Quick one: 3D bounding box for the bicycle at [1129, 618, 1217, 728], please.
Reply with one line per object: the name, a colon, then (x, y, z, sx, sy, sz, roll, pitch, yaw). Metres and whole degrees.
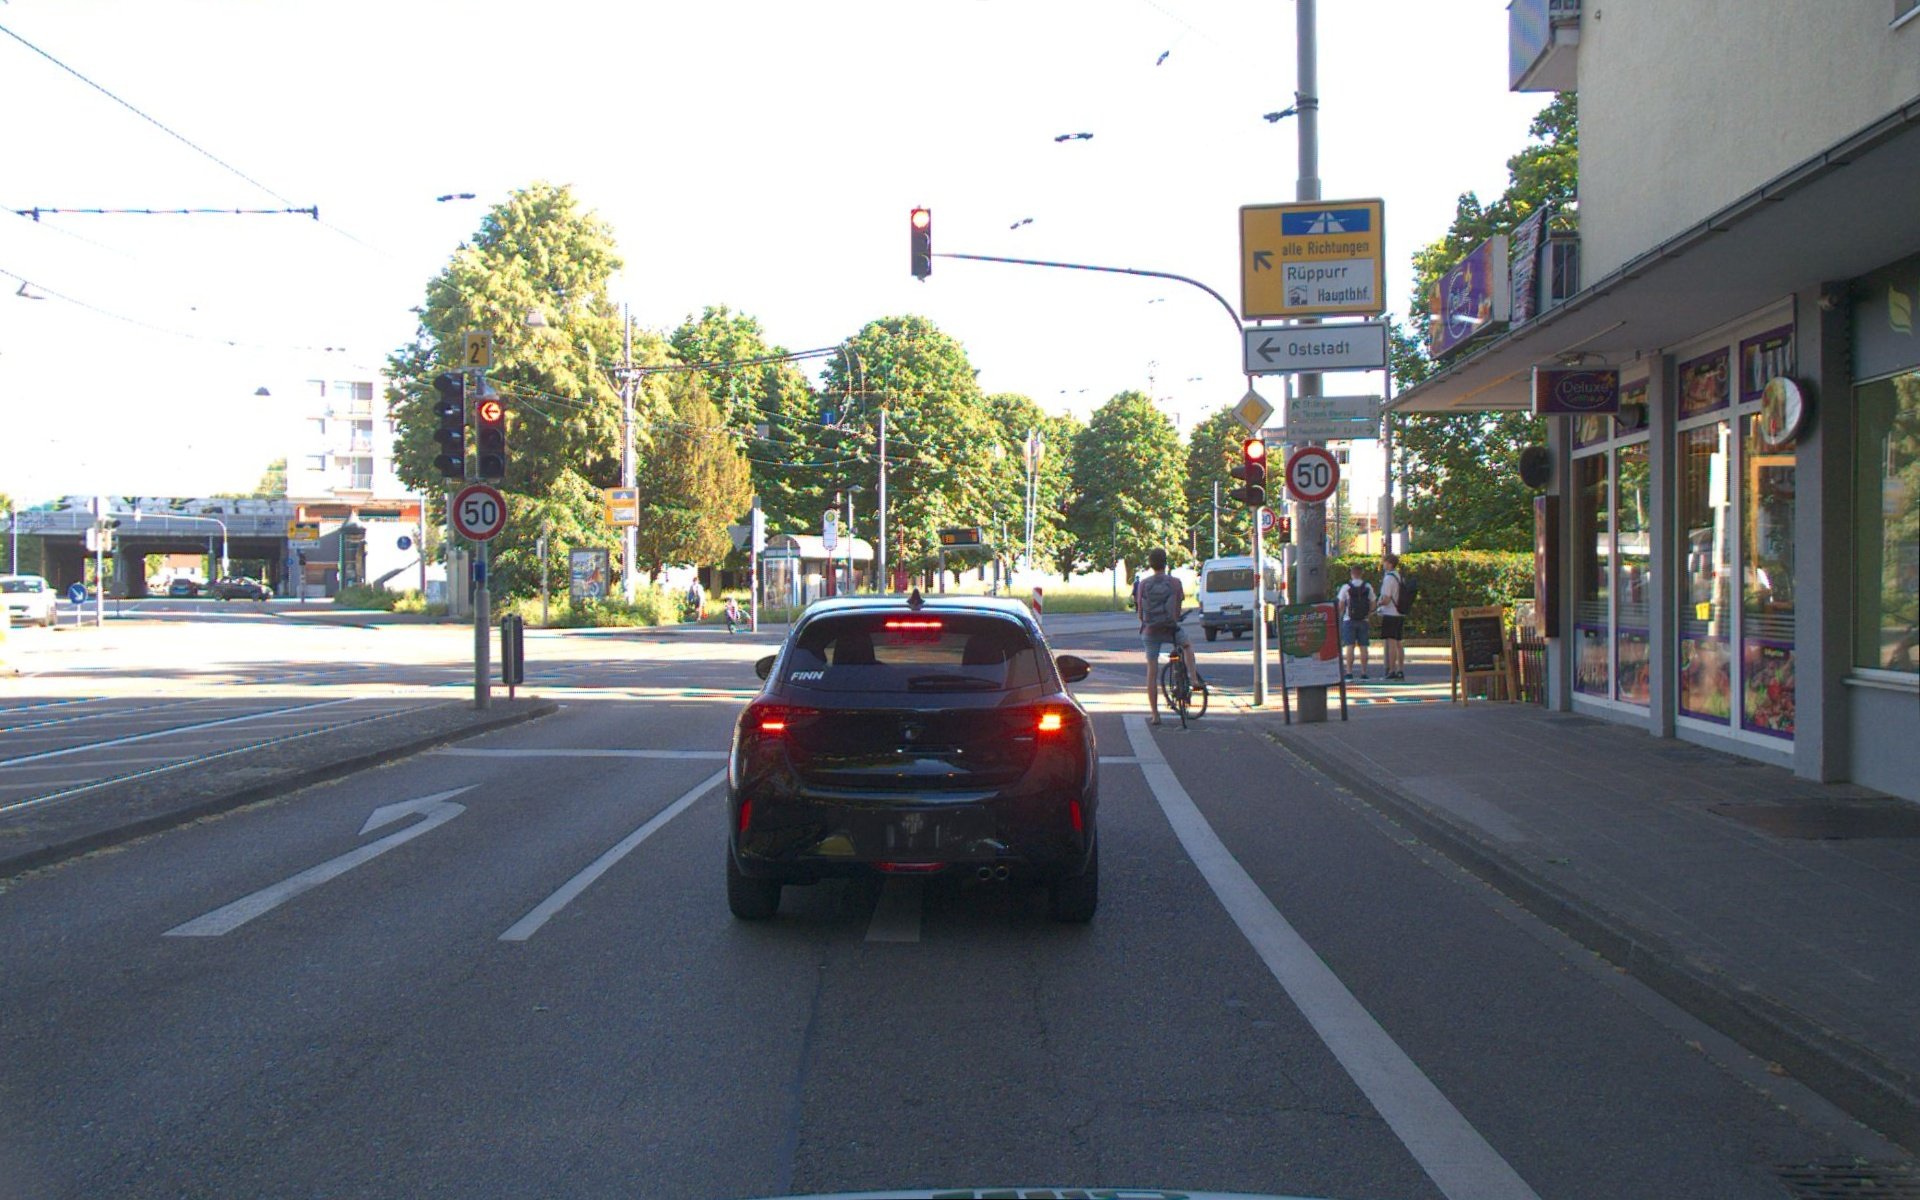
bicycle: (2.281, 0.755, 17.886, 0.653, 1.078, 2.082, 0, 1, -1)

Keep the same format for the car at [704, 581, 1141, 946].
car: (-0.129, 0.643, 8.681, 1.763, 1.466, 3.940, 0, 1, 1)

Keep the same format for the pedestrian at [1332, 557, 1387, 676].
pedestrian: (6.177, 0.251, 25.602, 0.684, 1.823, 0.617, 0, 0, -1)

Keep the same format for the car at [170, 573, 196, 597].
car: (-68.174, -1.328, 145.120, 1.970, 2.049, 3.965, 1, 0, -27)

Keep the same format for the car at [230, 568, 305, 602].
car: (-44.327, -0.947, 105.972, 3.907, 2.049, 1.999, 1, 0, -3)

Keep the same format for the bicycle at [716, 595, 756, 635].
bicycle: (-6.285, 0.403, 46.514, 0.808, 1.078, 1.883, 0, 1, 2)

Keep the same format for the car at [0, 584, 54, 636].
car: (-31.490, 0.291, 55.020, 1.976, 1.660, 4.576, -1, 1, -34)

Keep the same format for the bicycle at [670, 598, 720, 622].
bicycle: (-10.501, 0.408, 65.512, 1.837, 0.922, 0.660, 0, 0, 6)

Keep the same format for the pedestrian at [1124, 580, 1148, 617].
pedestrian: (8.591, -0.080, 80.733, 0.939, 1.824, 0.995, 0, 0, 25)

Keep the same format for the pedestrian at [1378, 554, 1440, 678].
pedestrian: (6.957, 0.237, 25.623, 0.691, 1.878, 0.697, 0, 0, 39)

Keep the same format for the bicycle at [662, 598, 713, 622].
bicycle: (-10.634, 0.402, 64.639, 1.837, 0.922, 0.660, 0, 0, 6)

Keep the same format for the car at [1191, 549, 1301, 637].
car: (8.028, -0.177, 46.131, 2.047, 2.317, 4.304, 1, 0, 23)

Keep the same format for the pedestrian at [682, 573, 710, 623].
pedestrian: (-9.174, -0.088, 57.465, 0.710, 1.722, 0.701, 0, 0, 17)

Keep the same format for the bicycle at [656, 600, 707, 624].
bicycle: (-10.713, 0.458, 63.653, 1.837, 0.922, 0.660, 0, 0, 6)

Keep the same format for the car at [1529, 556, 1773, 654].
car: (13.542, 0.127, 32.620, 4.087, 1.846, 1.807, 0, -2, 8)

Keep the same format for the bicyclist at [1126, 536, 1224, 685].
bicyclist: (2.293, 0.101, 17.798, 0.823, 1.536, 1.368, 0, 0, -3)
